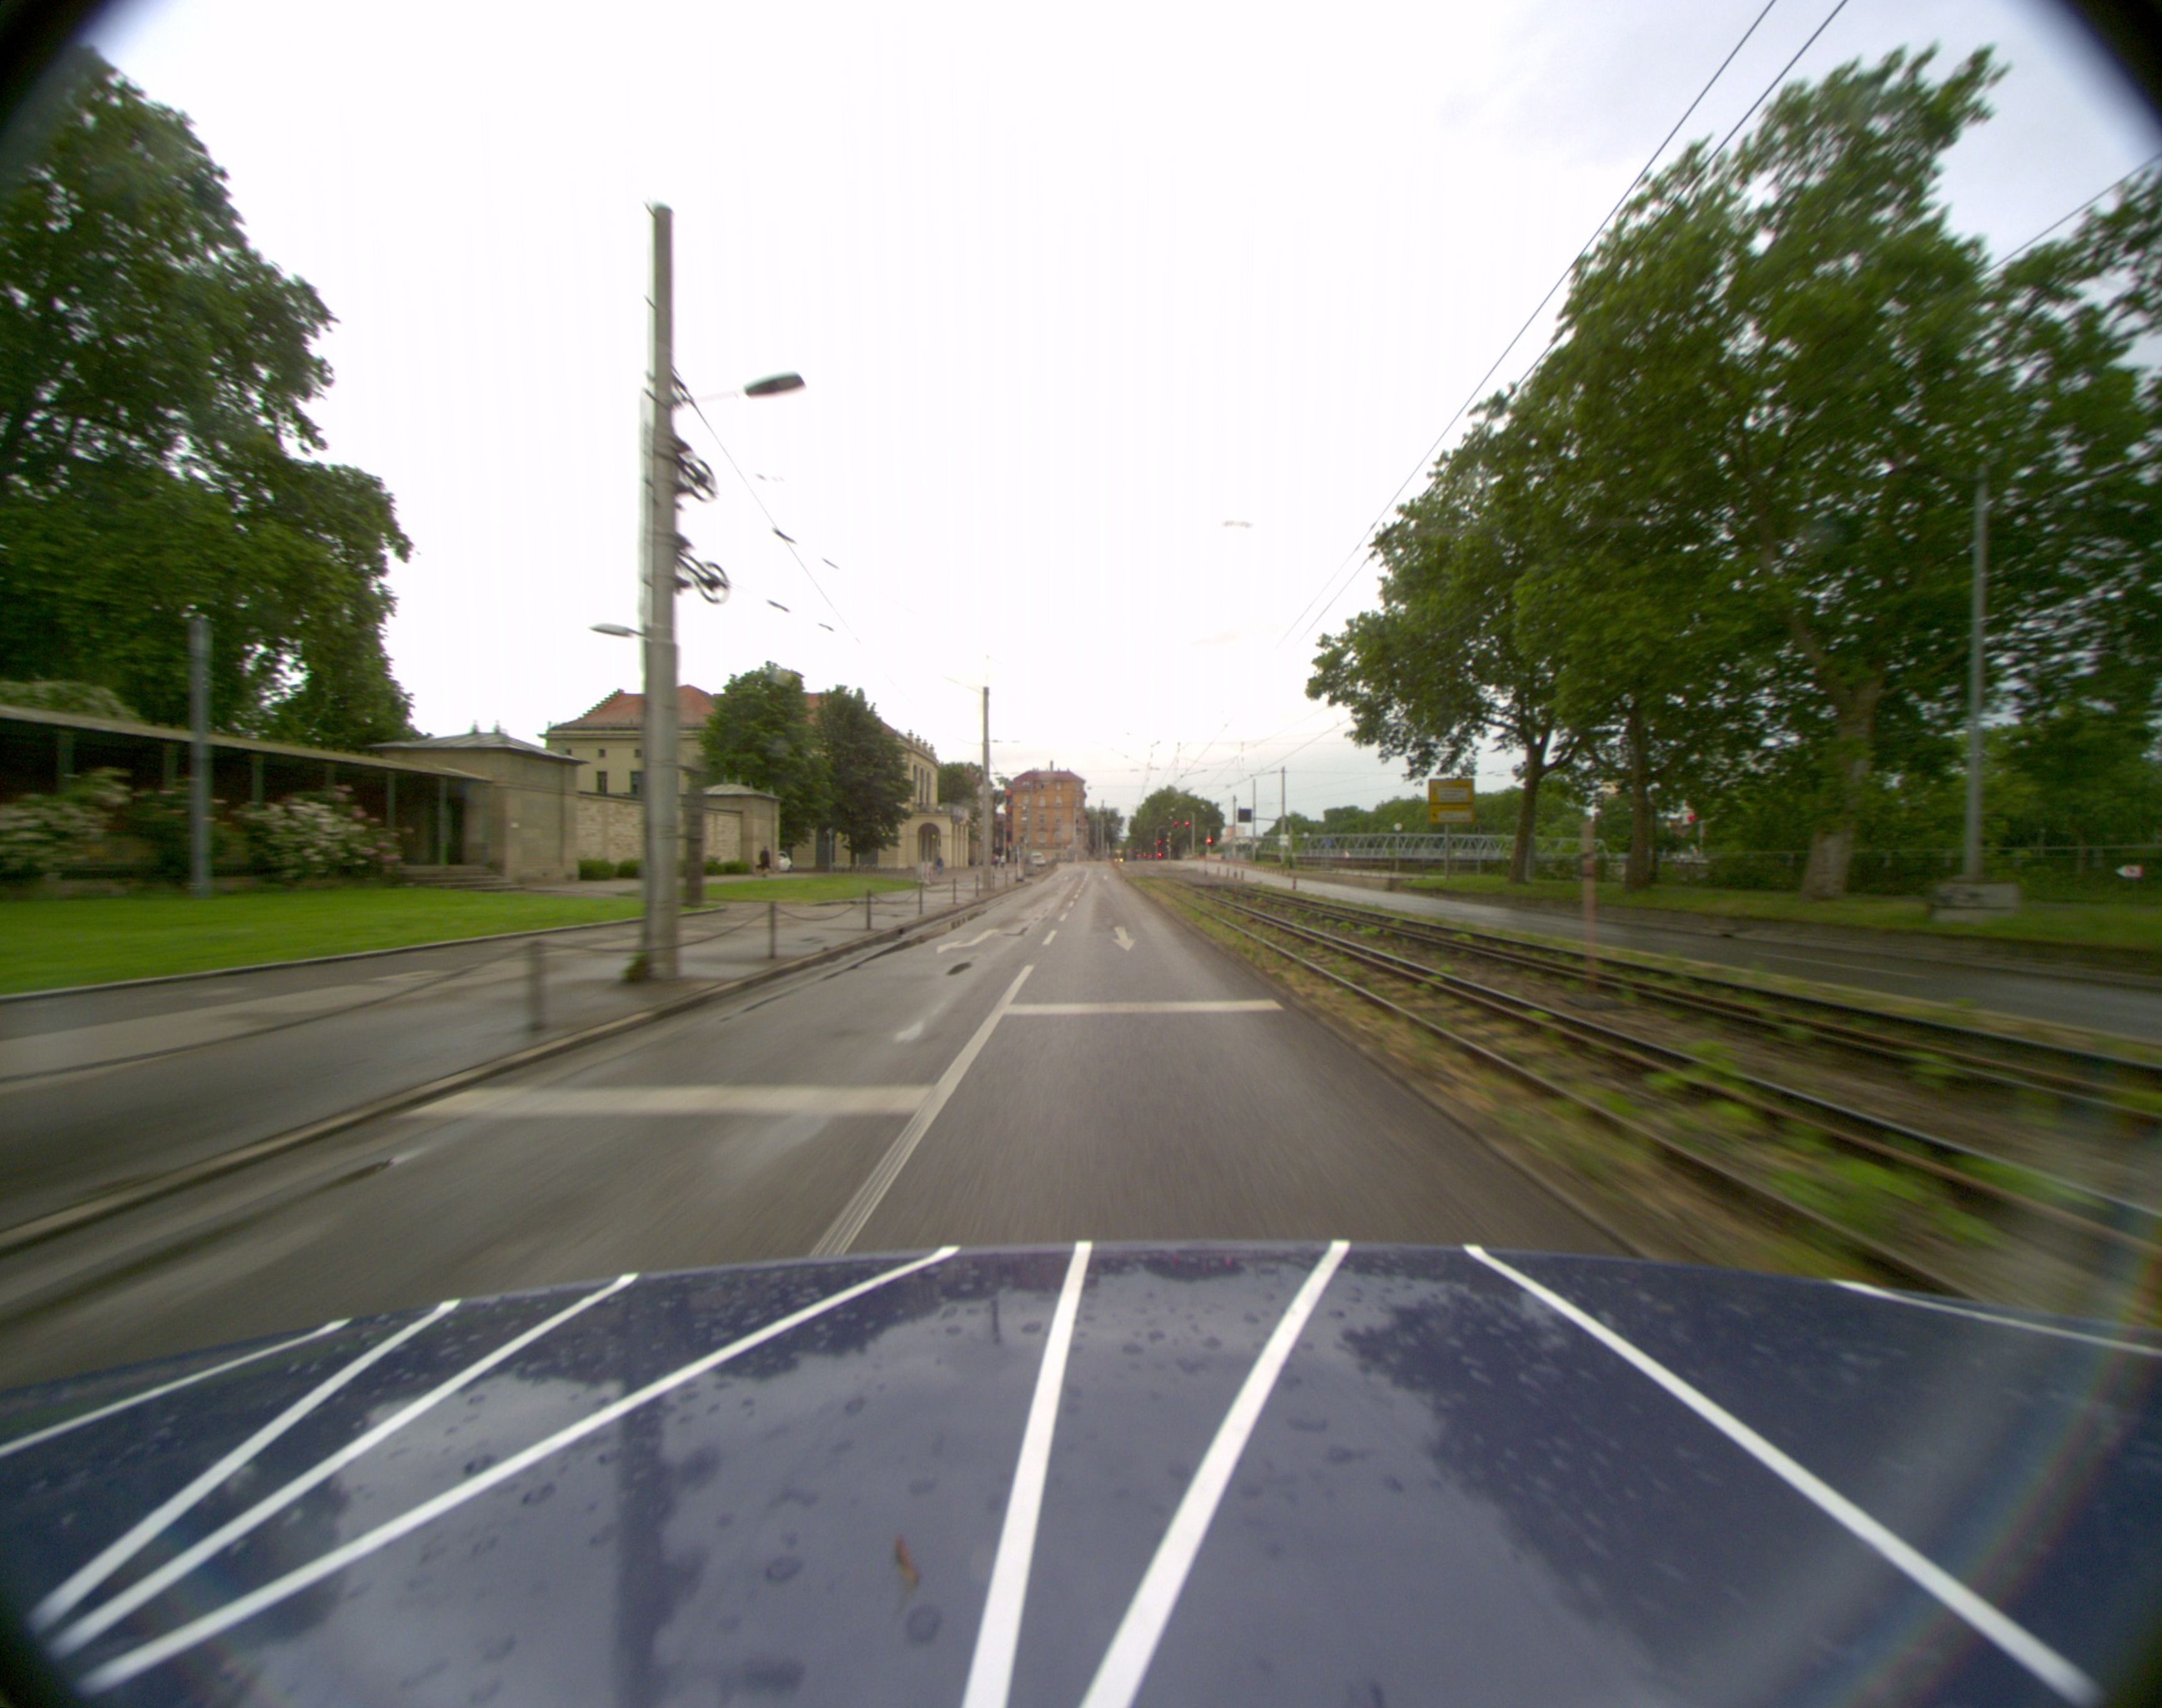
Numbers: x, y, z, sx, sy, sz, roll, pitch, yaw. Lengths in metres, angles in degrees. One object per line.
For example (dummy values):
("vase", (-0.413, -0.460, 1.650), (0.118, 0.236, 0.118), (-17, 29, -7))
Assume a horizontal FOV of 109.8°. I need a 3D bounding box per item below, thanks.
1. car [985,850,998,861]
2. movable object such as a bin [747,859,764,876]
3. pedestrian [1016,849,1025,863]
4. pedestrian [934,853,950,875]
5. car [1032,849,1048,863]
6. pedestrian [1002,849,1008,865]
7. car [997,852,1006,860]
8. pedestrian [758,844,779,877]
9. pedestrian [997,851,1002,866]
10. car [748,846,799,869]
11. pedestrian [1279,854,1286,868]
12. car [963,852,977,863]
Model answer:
("car", (-13.458, 0.197, 114.249), (1.831, 1.573, 3.998), (0, 1, -4))
("movable object such as a bin", (-17.273, 0.704, 40.286), (0.343, 0.867, 1.192), (0, 1, 2))
("pedestrian", (-7.867, 0.223, 98.721), (0.783, 1.797, 0.696), (-3, 2, -39))
("pedestrian", (-10.100, 0.750, 55.335), (0.863, 1.581, 0.669), (2, 1, 28))
("car", (-5.129, 0.236, 95.663), (1.844, 1.630, 4.141), (-3, 1, -3))
("pedestrian", (-8.369, 0.323, 83.858), (0.595, 1.726, 0.839), (0, 1, -1))
("car", (-17.338, 0.421, 165.836), (1.831, 1.573, 3.998), (0, 1, -4))
("pedestrian", (-16.583, 0.334, 40.341), (0.730, 1.701, 0.981), (0, 1, 2))
("pedestrian", (-9.023, 0.523, 84.057), (0.629, 1.635, 0.780), (0, 1, -5))
("car", (-20.340, 0.260, 50.370), (1.841, 1.446, 3.599), (1, -2, 1))
("pedestrian", (24.273, 0.799, 91.502), (0.766, 1.678, 0.619), (0, 1, 0))
("car", (-16.677, 0.512, 114.501), (1.864, 1.539, 4.063), (-1, 1, -5))
